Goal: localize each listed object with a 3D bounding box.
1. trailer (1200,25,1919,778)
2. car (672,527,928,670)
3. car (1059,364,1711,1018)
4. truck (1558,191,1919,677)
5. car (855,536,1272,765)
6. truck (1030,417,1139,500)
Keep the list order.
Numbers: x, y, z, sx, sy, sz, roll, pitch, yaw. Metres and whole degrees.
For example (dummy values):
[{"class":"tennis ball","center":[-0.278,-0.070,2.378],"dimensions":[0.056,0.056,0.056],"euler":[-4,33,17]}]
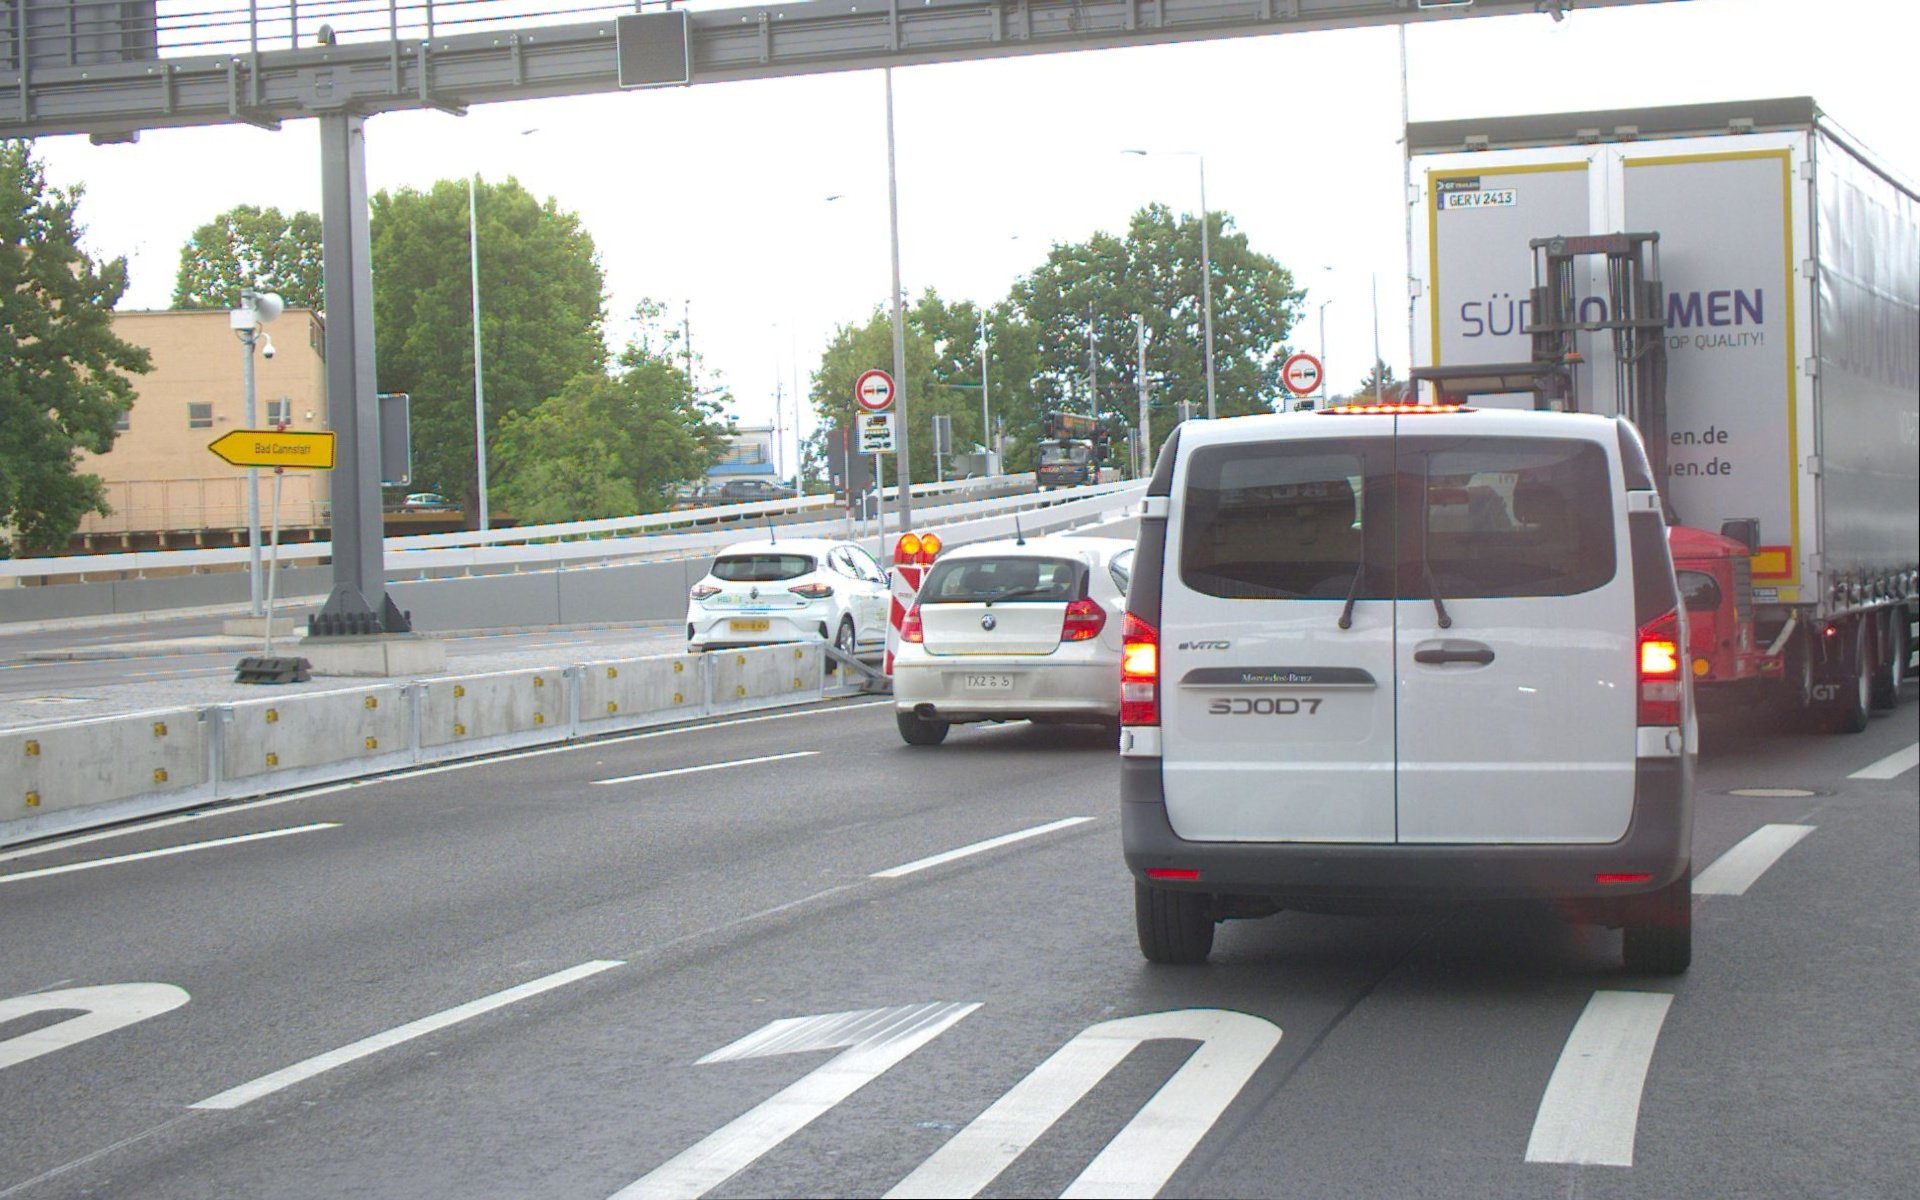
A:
[{"class":"trailer","center":[5.089,-1.176,24.662],"dimensions":[3.728,4.127,10.972],"euler":[0,1,21]},{"class":"car","center":[-1.695,-0.031,37.669],"dimensions":[1.745,1.427,3.773],"euler":[2,1,14]},{"class":"car","center":[1.784,0.243,13.174],"dimensions":[1.994,1.983,5.197],"euler":[0,1,11]},{"class":"truck","center":[9.261,-1.498,34.674],"dimensions":[3.729,4.127,10.969],"euler":[0,1,24]},{"class":"car","center":[0.831,0.294,24.405],"dimensions":[1.745,1.427,3.996],"euler":[2,1,20]},{"class":"truck","center":[5.482,-6.190,149.210],"dimensions":[2.734,3.378,10.615],"euler":[1,4,13]}]
